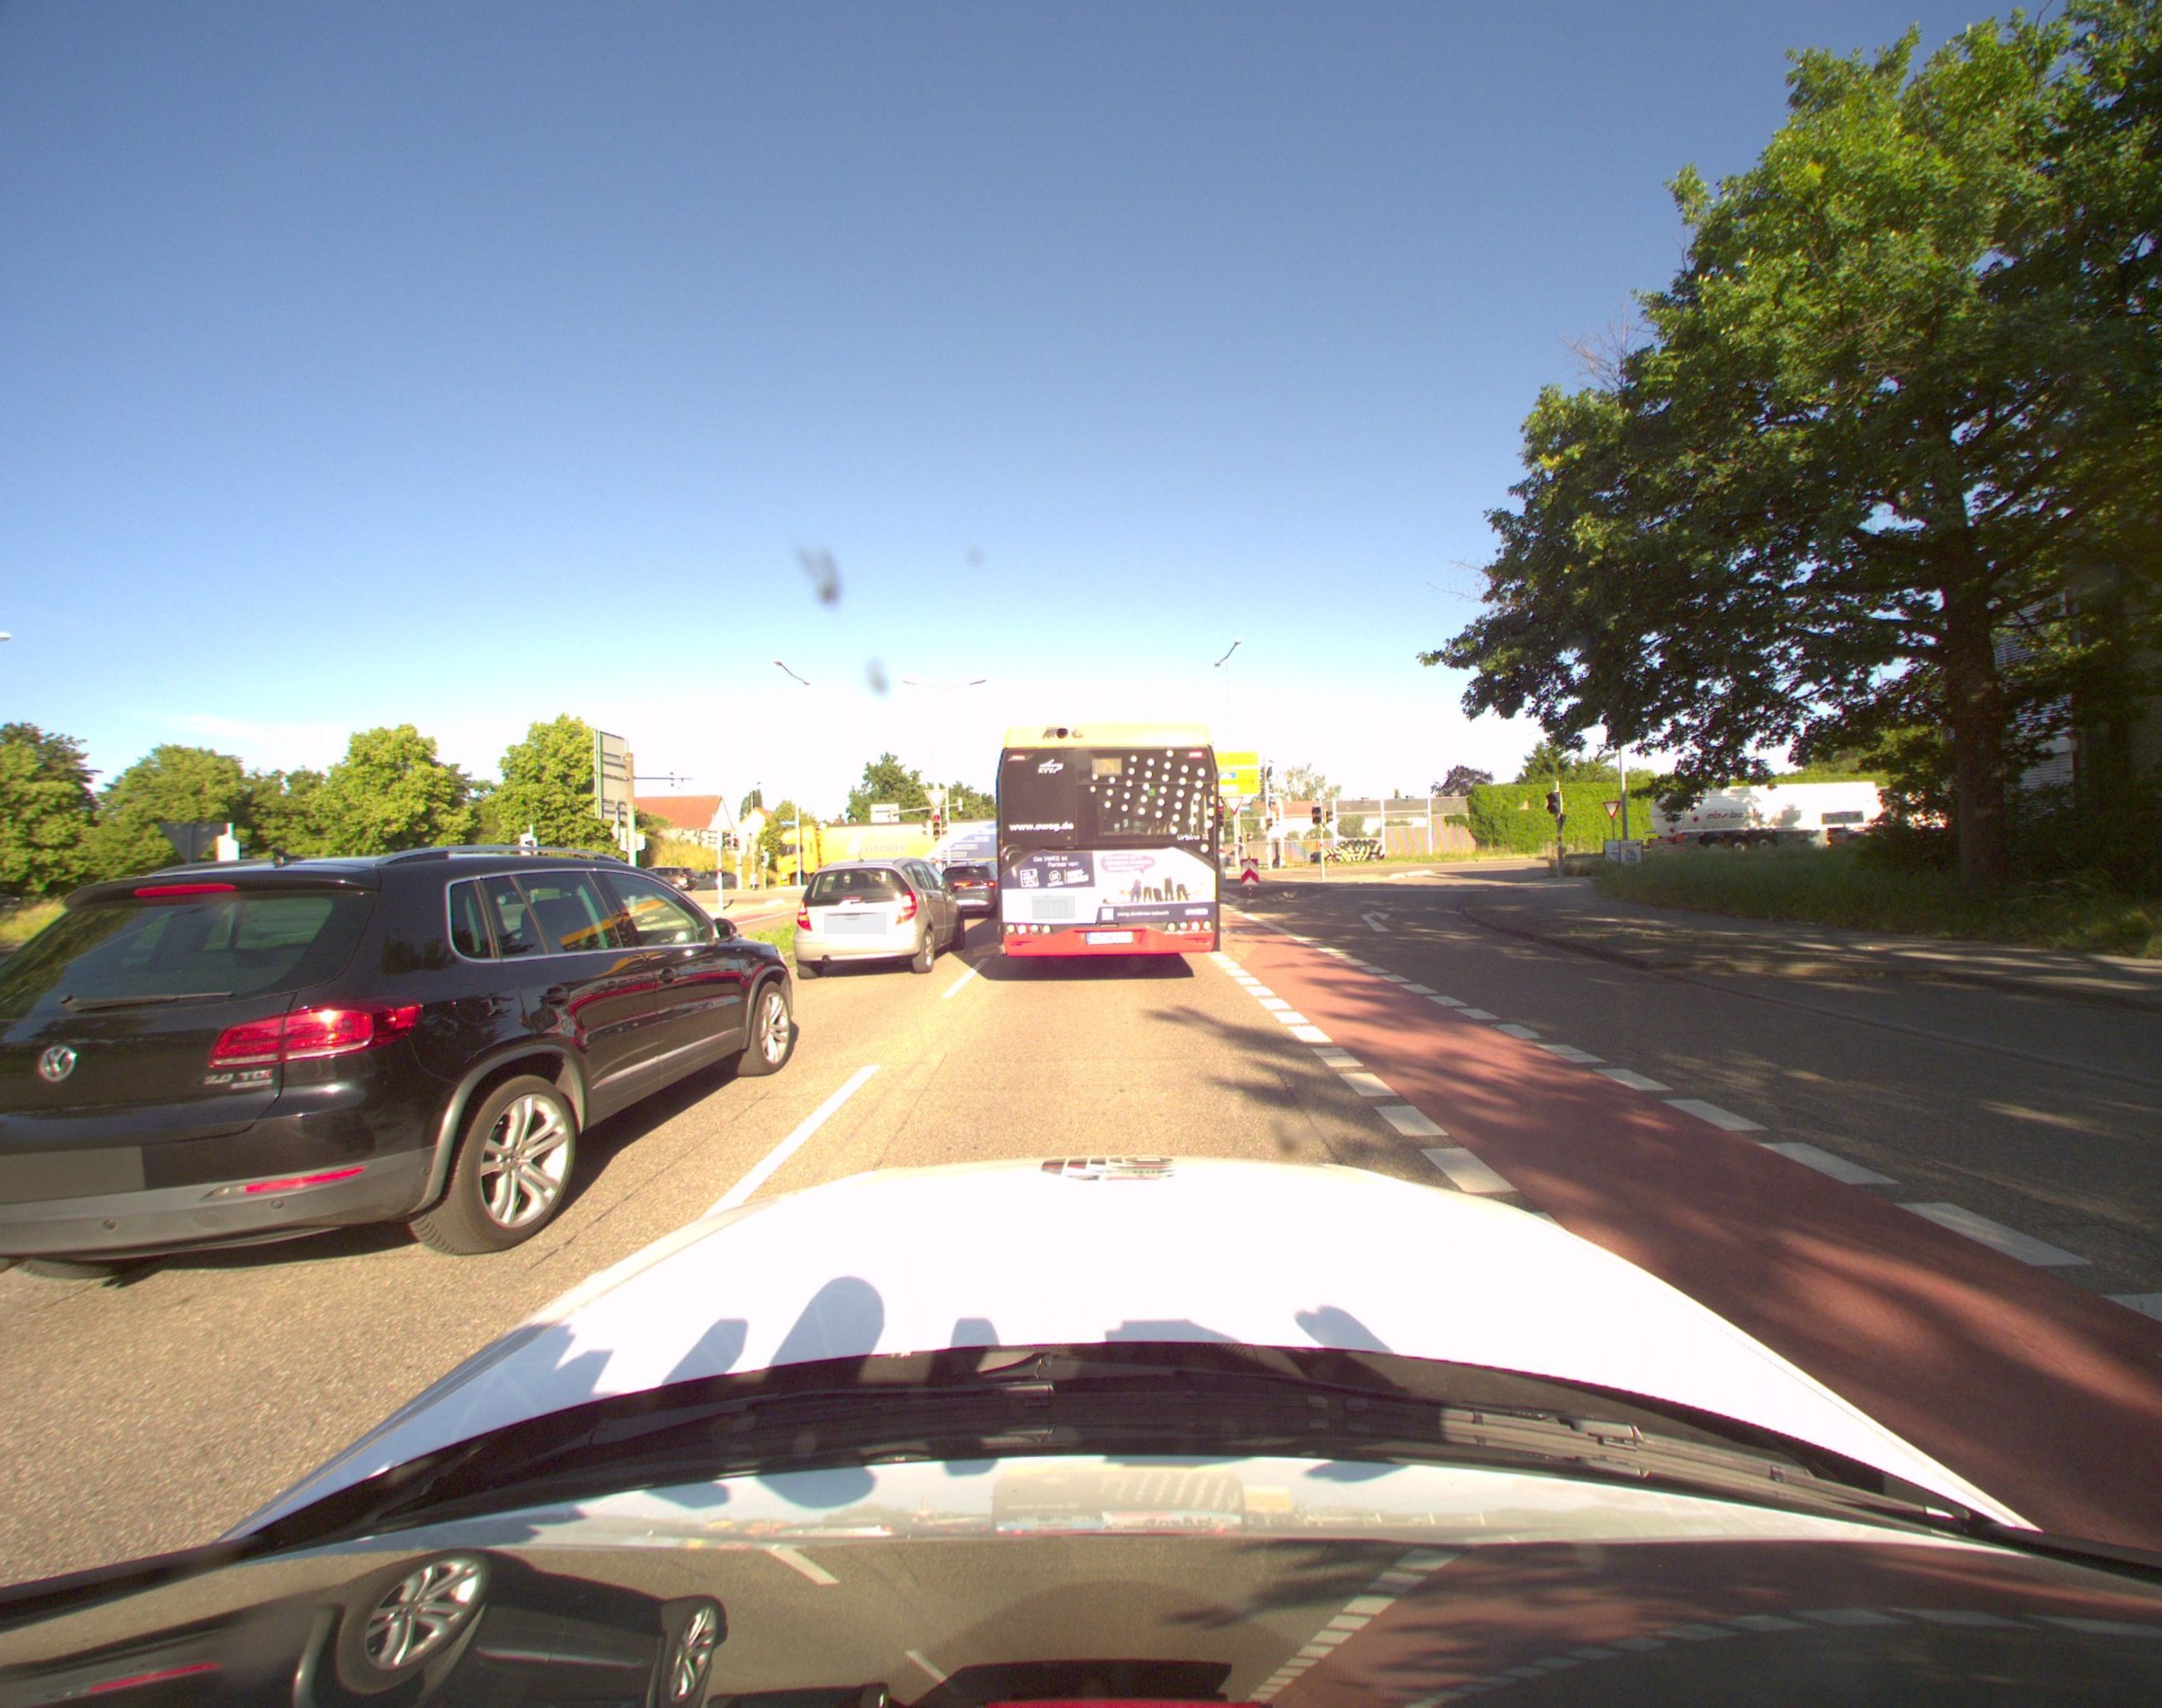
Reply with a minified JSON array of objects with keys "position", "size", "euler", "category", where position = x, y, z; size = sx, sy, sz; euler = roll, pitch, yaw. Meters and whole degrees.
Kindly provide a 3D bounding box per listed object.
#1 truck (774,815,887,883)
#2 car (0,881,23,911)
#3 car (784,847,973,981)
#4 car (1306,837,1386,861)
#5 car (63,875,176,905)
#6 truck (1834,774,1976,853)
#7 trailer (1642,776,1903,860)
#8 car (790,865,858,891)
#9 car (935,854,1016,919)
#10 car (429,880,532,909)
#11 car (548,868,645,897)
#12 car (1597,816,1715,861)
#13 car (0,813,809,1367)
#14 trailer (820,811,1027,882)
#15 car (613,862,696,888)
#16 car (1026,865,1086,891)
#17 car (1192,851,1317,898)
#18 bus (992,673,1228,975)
[{"position":[-15.809,-0.324,51.752],"size":[6.387,3.998,2.468],"euler":[-2,0,-5],"category":"truck"},{"position":[-64.316,2.446,46.808],"size":[3.983,1.715,1.995],"euler":[-1,-1,-7],"category":"car"},{"position":[-2.848,0.748,12.390],"size":[1.748,1.620,4.034],"euler":[-2,1,1],"category":"car"},{"position":[15.440,-0.272,47.540],"size":[4.148,1.302,1.573],"euler":[-1,-1,-2],"category":"car"},{"position":[-53.056,1.975,45.000],"size":[3.980,1.553,1.693],"euler":[-1,-1,-5],"category":"car"},{"position":[41.083,-1.978,40.686],"size":[4.793,3.695,2.407],"euler":[-2,0,-5],"category":"truck"},{"position":[33.852,-1.752,40.003],"size":[11.457,3.696,2.391],"euler":[-2,0,-5],"category":"trailer"},{"position":[-17.155,1.591,54.521],"size":[3.979,1.612,1.693],"euler":[-2,0,-4],"category":"car"},{"position":[-2.656,0.797,21.217],"size":[1.583,1.486,3.681],"euler":[-2,-1,0],"category":"car"},{"position":[-29.878,1.994,40.623],"size":[3.842,1.313,1.504],"euler":[-1,-1,-7],"category":"car"},{"position":[-24.655,1.456,41.559],"size":[3.842,1.385,1.678],"euler":[-1,-1,-7],"category":"car"},{"position":[17.983,-0.467,25.475],"size":[3.412,1.296,1.449],"euler":[0,-1,-24],"category":"car"},{"position":[-3.190,0.790,4.560],"size":[1.814,1.673,4.004],"euler":[-3,-1,1],"category":"car"},{"position":[-9.893,-0.486,52.292],"size":[12.712,4.030,2.466],"euler":[-2,0,-5],"category":"trailer"},{"position":[-24.874,1.242,47.564],"size":[3.980,1.442,1.563],"euler":[-1,-1,-5],"category":"car"},{"position":[-1.725,1.645,55.816],"size":[3.979,1.612,1.693],"euler":[-2,0,-4],"category":"car"},{"position":[5.093,0.590,24.168],"size":[3.500,1.302,1.579],"euler":[-1,1,10],"category":"car"},{"position":[0.514,-0.333,15.071],"size":[2.586,3.334,11.988],"euler":[-1,0,2],"category":"bus"}]
